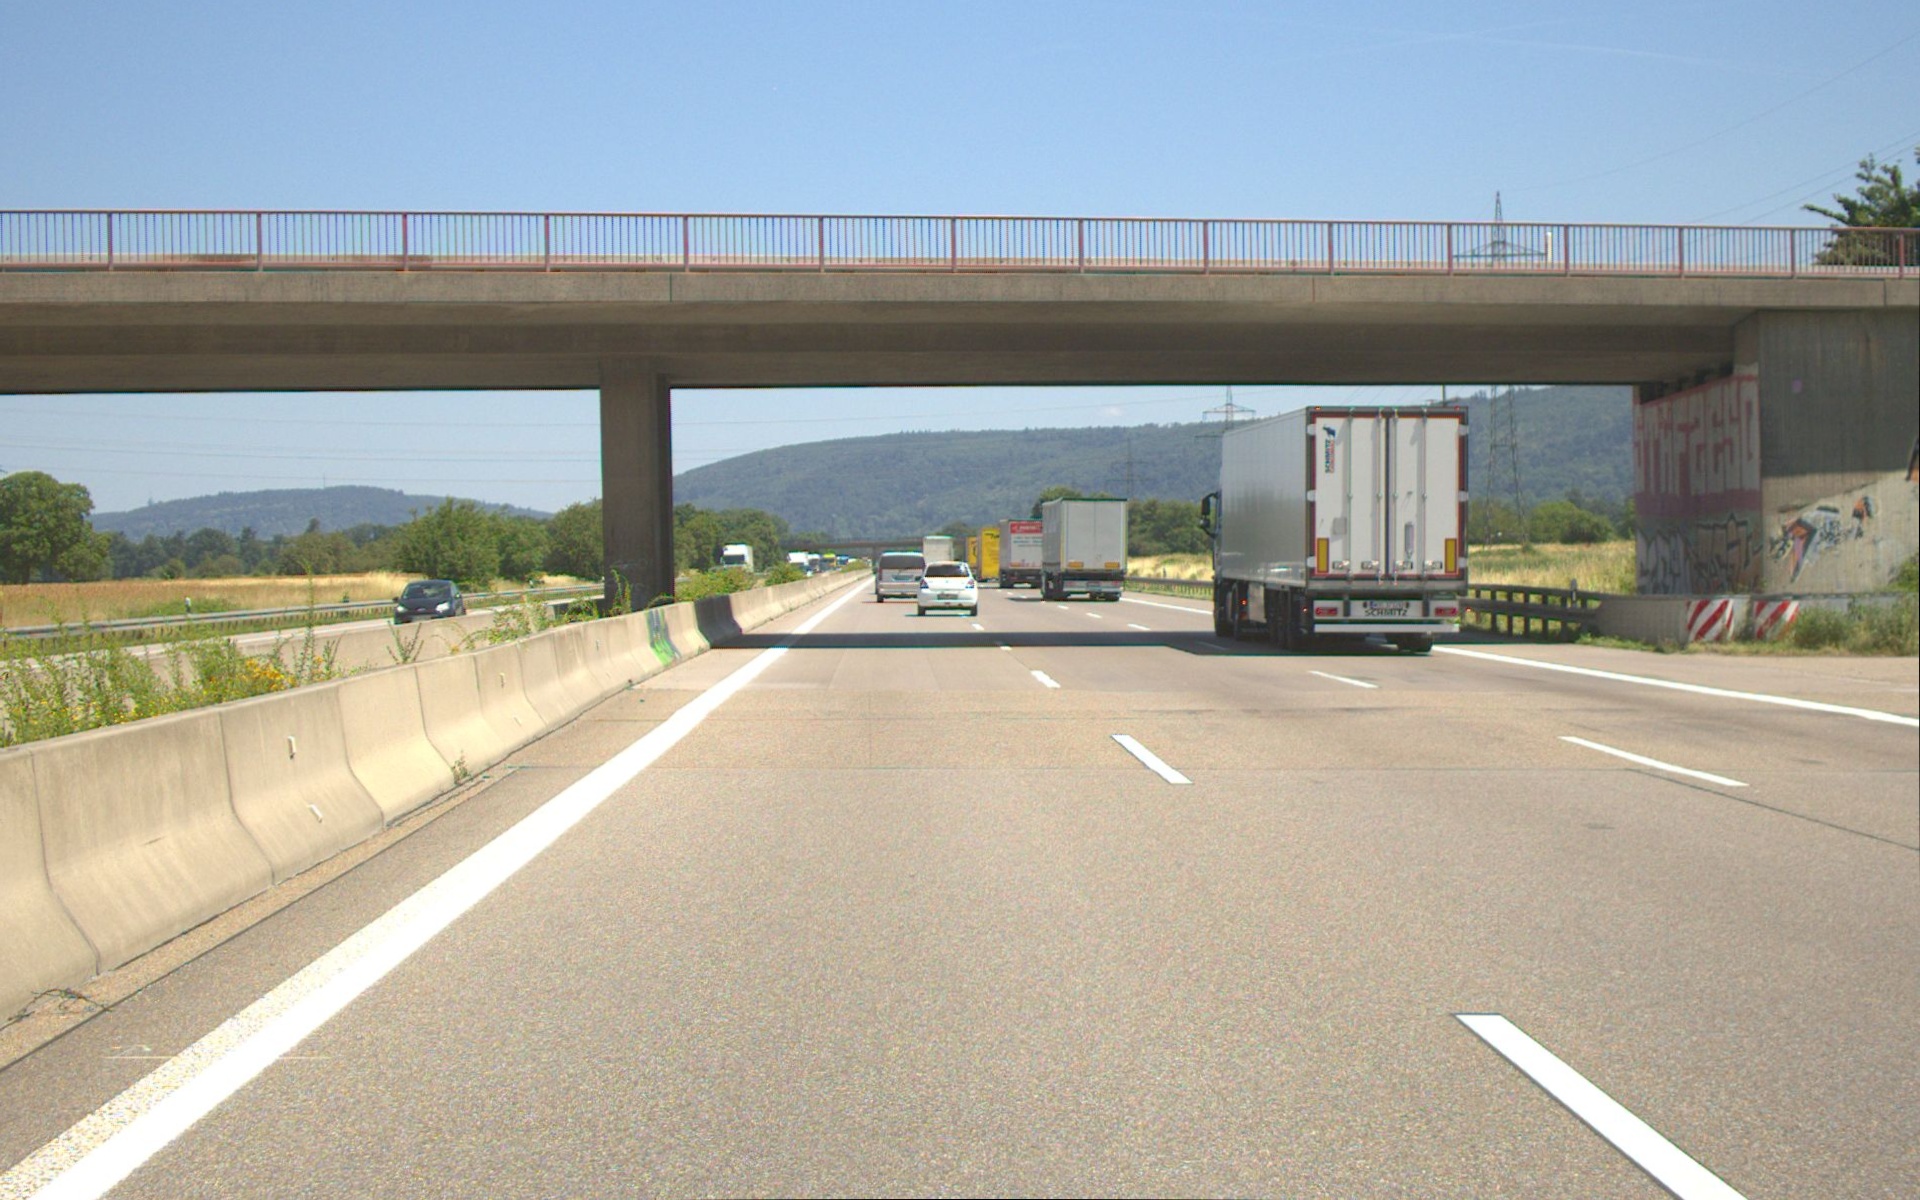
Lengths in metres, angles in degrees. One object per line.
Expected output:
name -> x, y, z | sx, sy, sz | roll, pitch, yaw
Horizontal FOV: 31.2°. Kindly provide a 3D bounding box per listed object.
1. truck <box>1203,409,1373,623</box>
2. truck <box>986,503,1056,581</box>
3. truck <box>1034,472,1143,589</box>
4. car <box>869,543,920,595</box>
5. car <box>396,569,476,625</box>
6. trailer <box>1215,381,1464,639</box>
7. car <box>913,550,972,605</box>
truck -> 6.579, -1.674, 69.755 | 2.795, 4.149, 5.723 | 1, 1, -1
truck -> 3.583, -3.453, 205.226 | 3.520, 4.401, 14.592 | -2, 1, -1
truck -> 5.078, -2.767, 138.910 | 3.520, 4.401, 14.592 | -2, 1, -1
car -> -2.436, -1.174, 128.818 | 1.761, 1.844, 4.000 | -1, 1, 0
car -> -15.076, -0.102, 99.071 | 1.673, 1.514, 4.099 | -2, 1, -1
trailer -> 6.653, -1.561, 62.546 | 2.795, 4.149, 13.956 | 1, 1, -1
car -> -0.468, -0.647, 97.285 | 1.607, 1.462, 4.000 | -1, 1, 0
